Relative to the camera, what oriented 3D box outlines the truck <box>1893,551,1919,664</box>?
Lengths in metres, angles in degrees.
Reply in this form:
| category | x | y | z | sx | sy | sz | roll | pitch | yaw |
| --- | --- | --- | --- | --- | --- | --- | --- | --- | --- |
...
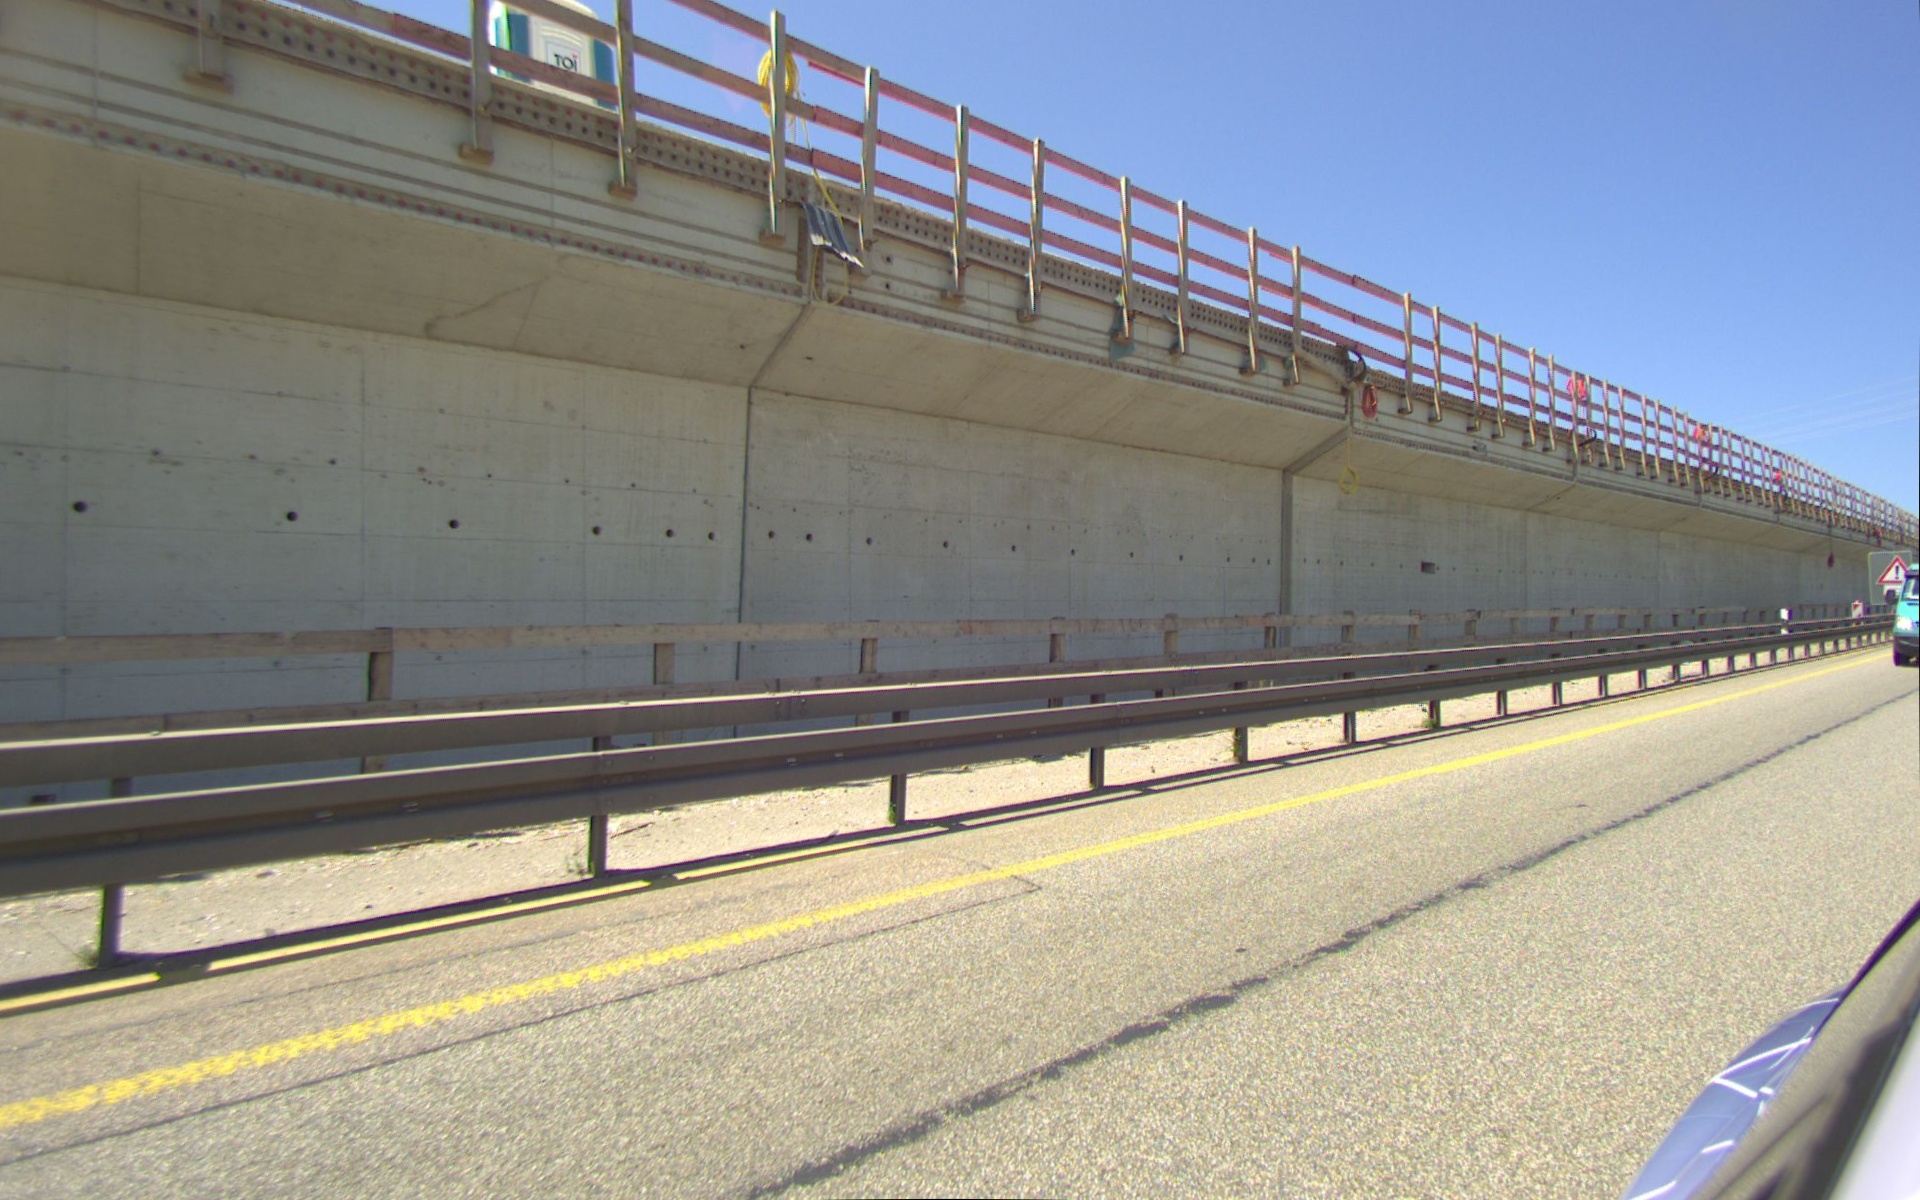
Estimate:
| category | x | y | z | sx | sy | sz | roll | pitch | yaw |
| --- | --- | --- | --- | --- | --- | --- | --- | --- | --- |
| truck | 23.445 | 0.107 | 23.188 | 7.302 | 2.387 | 2.138 | -1 | 1 | -40 |
